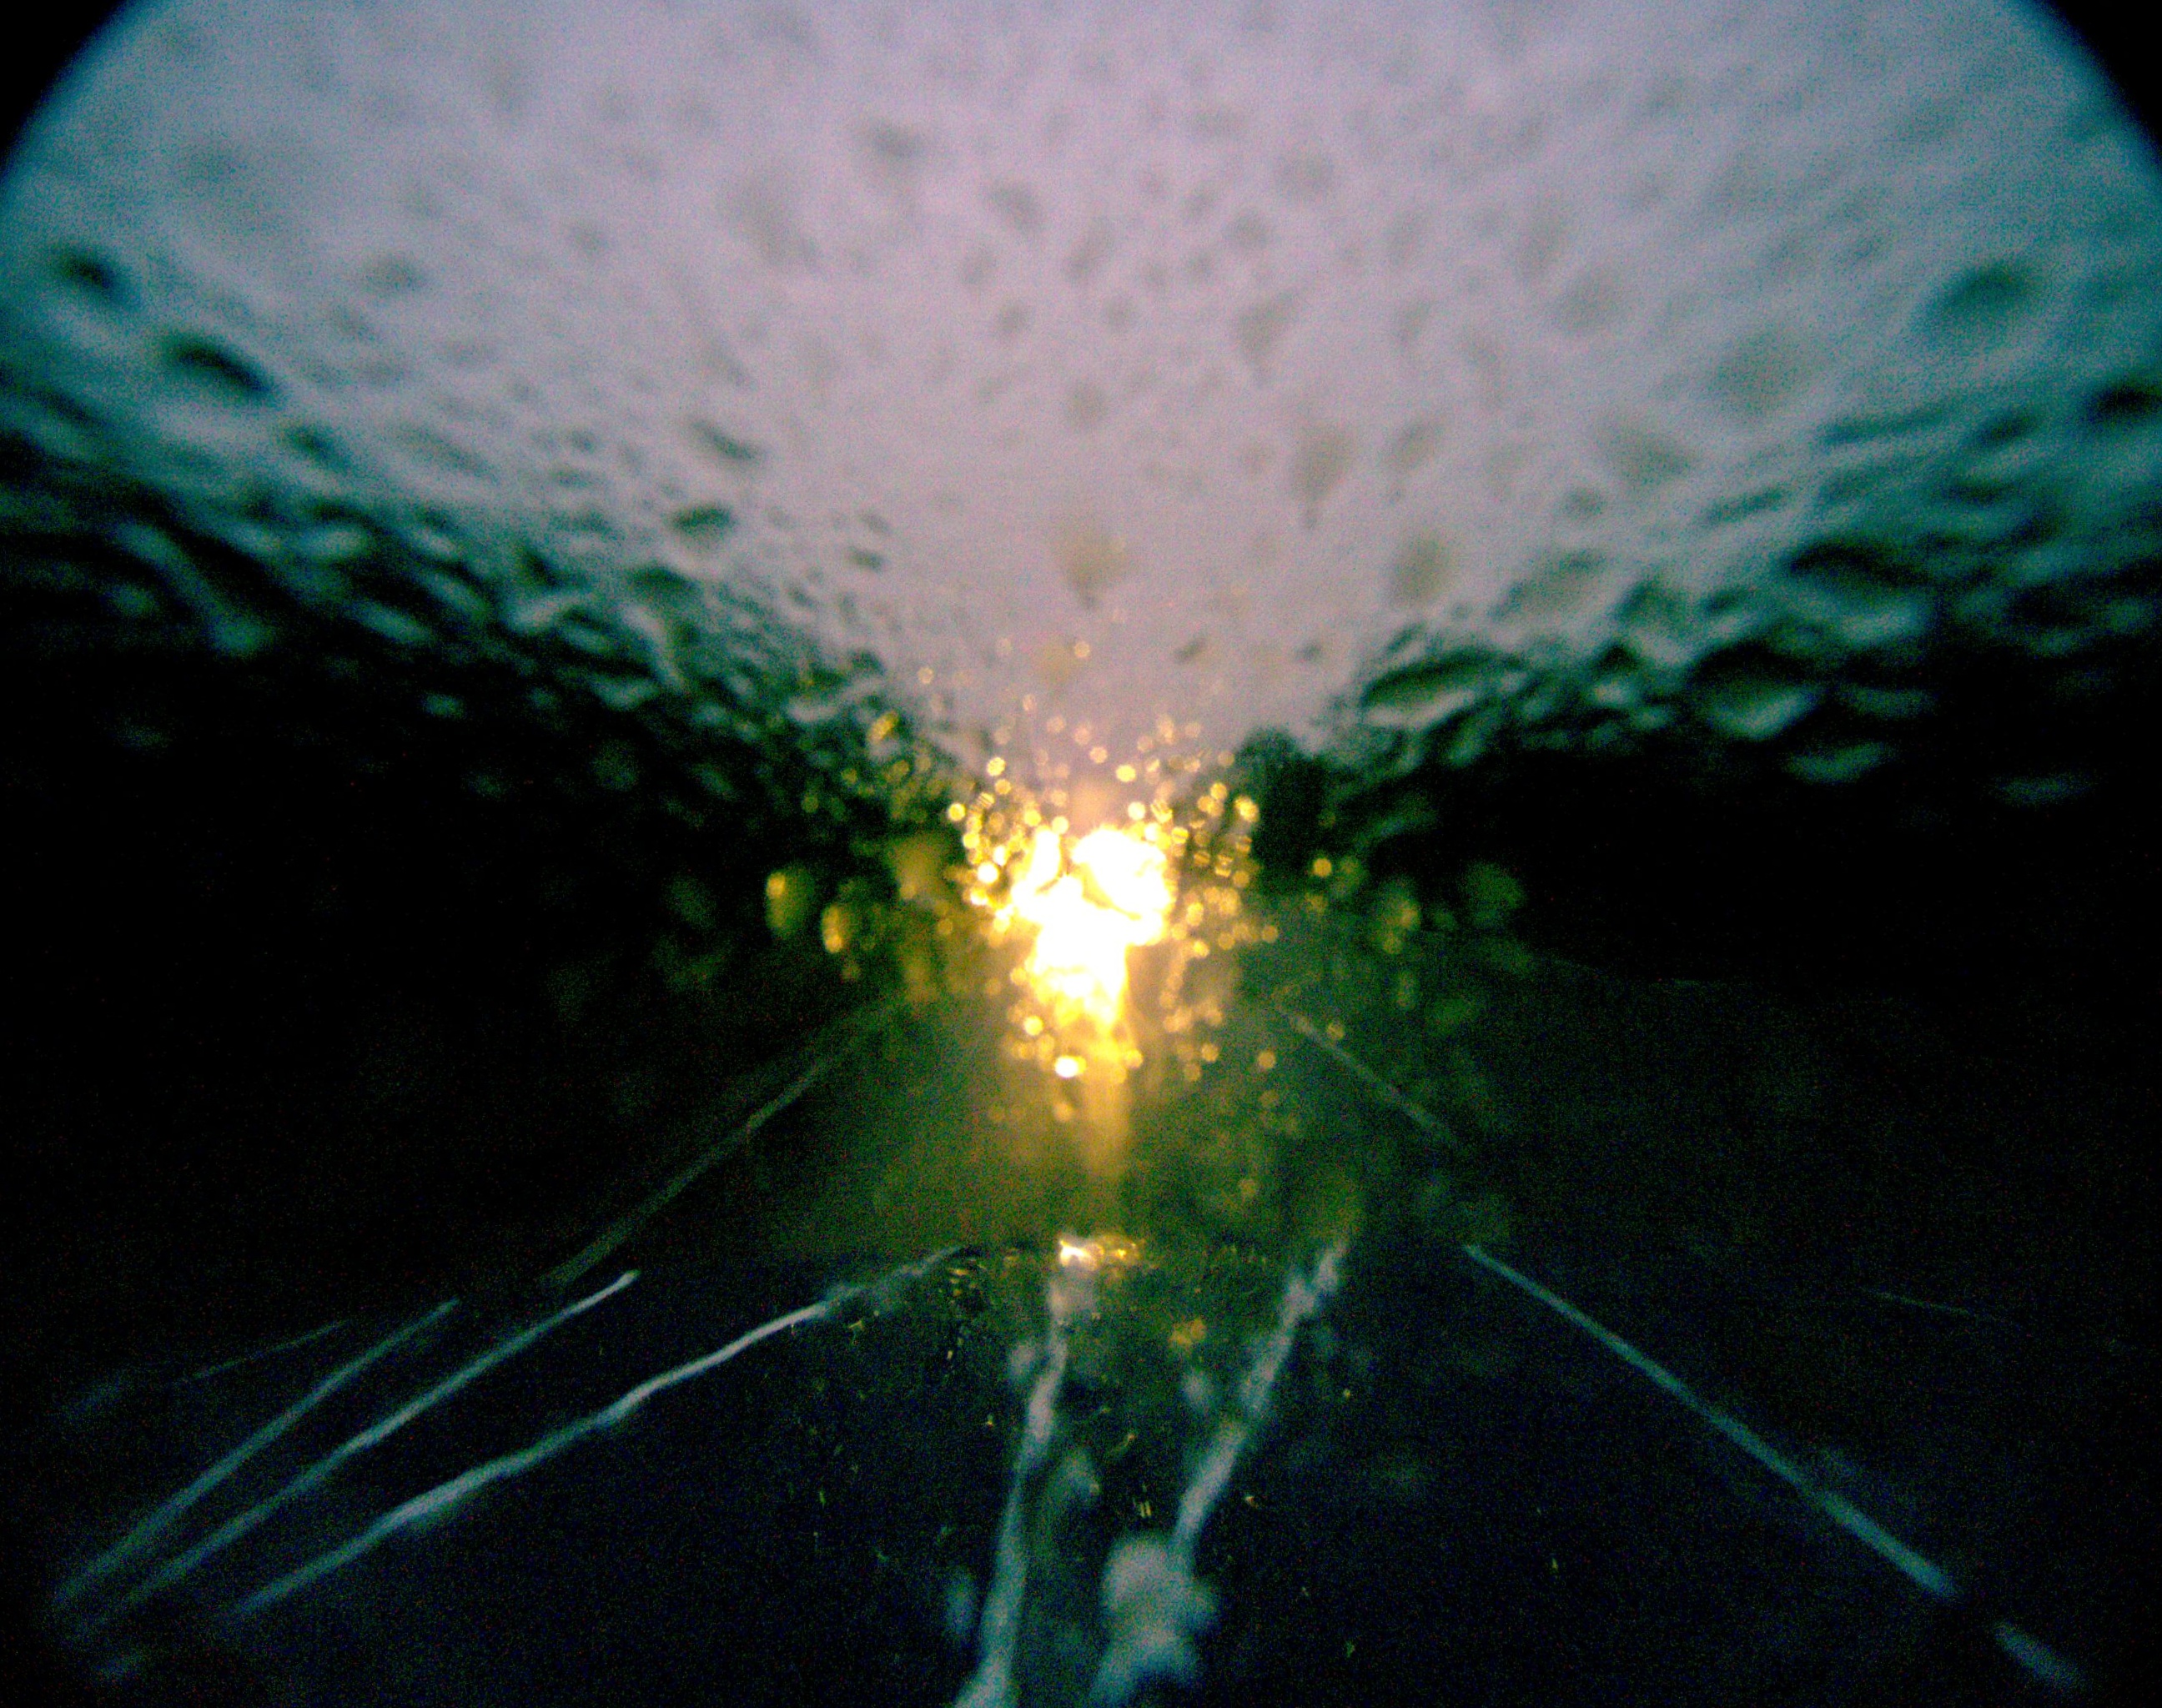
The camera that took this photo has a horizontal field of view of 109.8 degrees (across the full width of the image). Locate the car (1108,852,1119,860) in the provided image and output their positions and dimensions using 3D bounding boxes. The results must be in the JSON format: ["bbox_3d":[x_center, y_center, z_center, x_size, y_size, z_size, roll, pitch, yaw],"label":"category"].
[{"bbox_3d":[5.971,0.337,139.069,1.702,1.487,5.664,-2,0,1],"label":"car"}]
